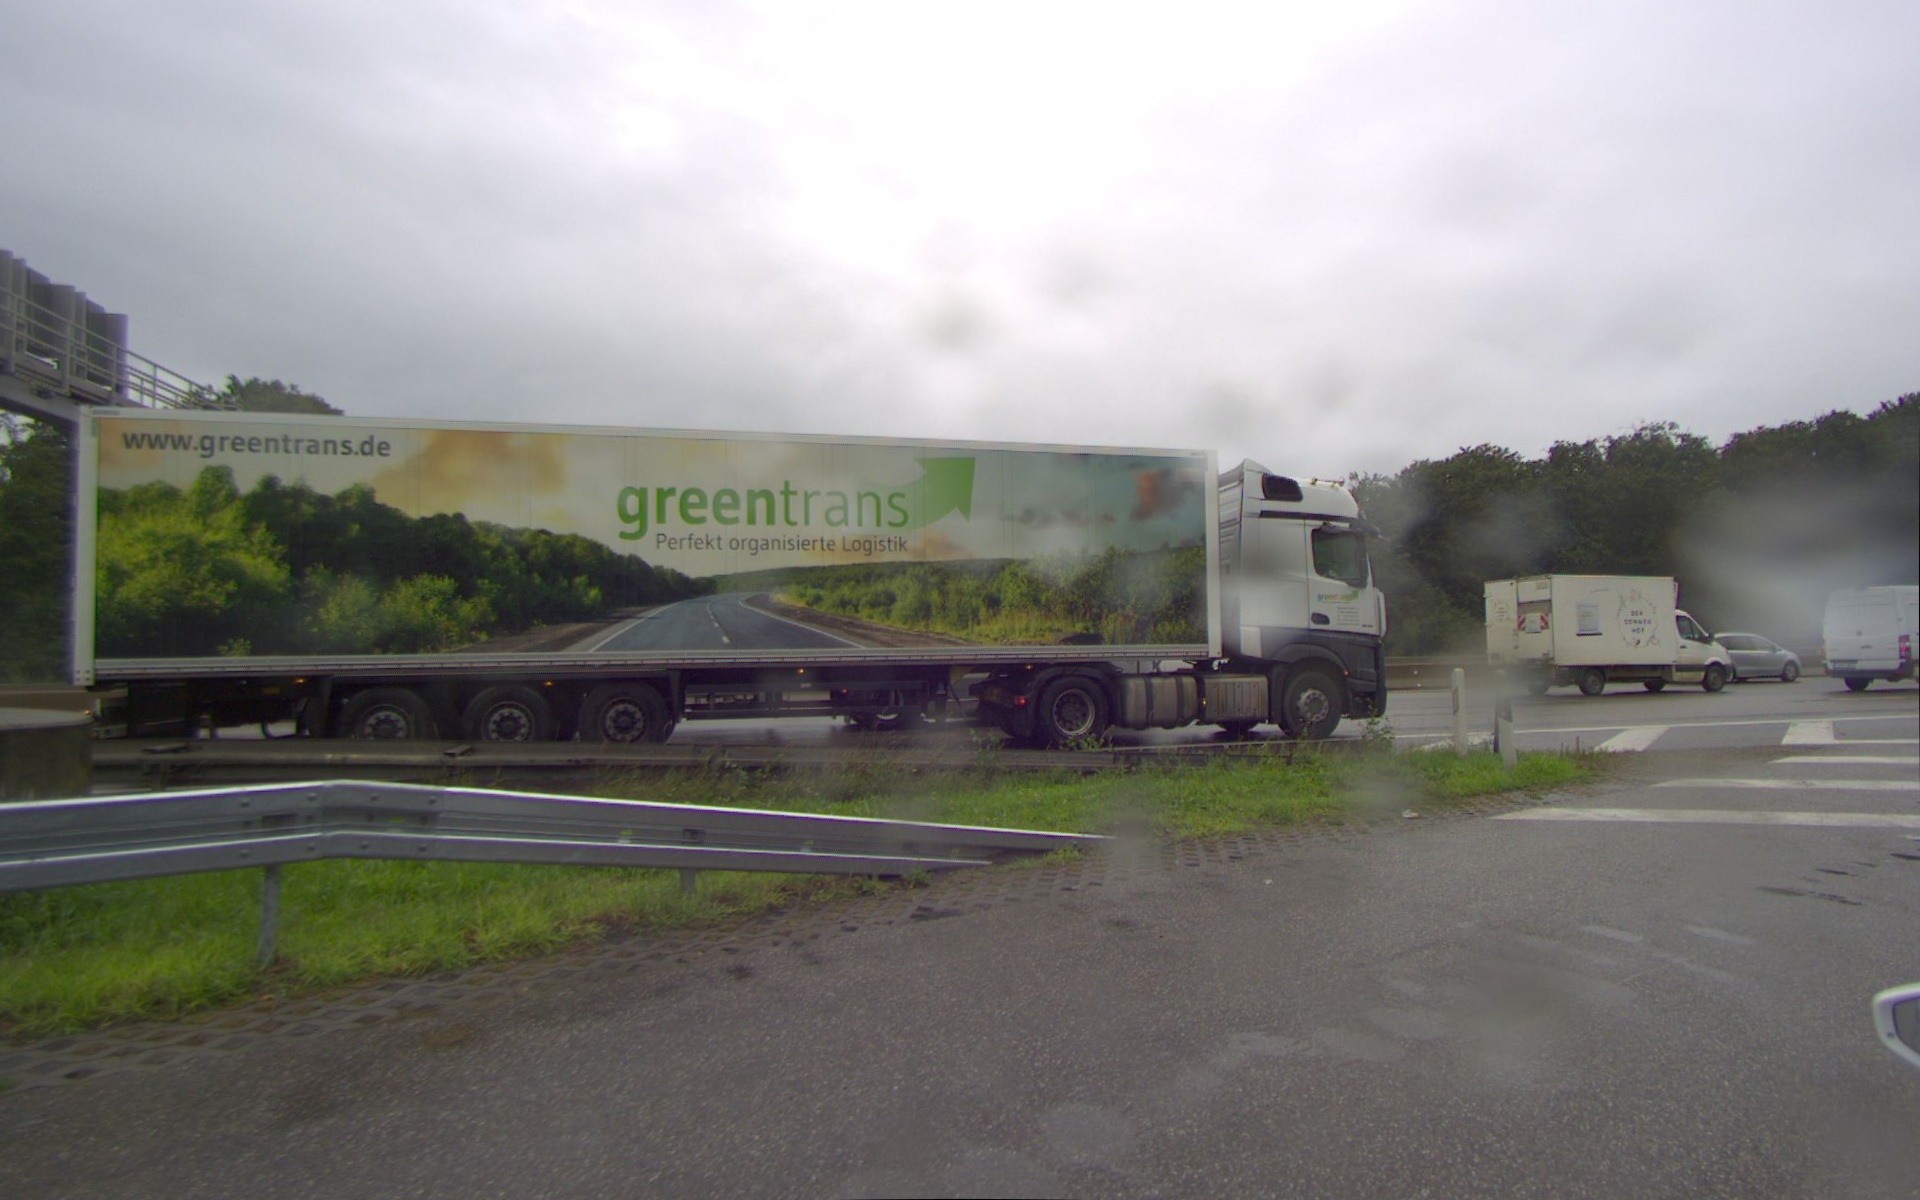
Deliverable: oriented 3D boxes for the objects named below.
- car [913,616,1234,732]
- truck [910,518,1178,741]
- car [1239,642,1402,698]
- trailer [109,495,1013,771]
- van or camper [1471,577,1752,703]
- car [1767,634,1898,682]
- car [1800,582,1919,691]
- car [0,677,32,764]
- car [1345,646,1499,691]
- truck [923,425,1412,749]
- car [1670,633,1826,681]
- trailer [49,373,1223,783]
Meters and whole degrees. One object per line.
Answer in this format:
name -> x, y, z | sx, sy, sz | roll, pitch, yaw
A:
car -> 2.654, 1.663, 23.711 | 7.242, 2.520, 2.149 | 0, -2, -15
truck -> 1.535, 0.581, 19.495 | 4.513, 3.914, 2.628 | 0, -3, -16
car -> 10.541, 2.010, 29.400 | 4.341, 1.542, 1.616 | 0, -3, -15
trailer -> -5.886, 0.540, 17.354 | 13.450, 3.914, 2.628 | 0, -3, -16
van or camper -> 18.130, 1.110, 28.035 | 7.014, 3.246, 2.580 | 0, -2, -16
car -> 32.712, 2.144, 37.685 | 3.933, 1.728, 1.777 | 0, -3, -15
car -> 25.387, 0.955, 26.374 | 5.747, 2.664, 2.216 | 0, -2, -16
car -> -19.444, 2.159, 17.405 | 4.462, 1.550, 1.995 | 1, -2, -14
car -> 15.705, 2.296, 34.177 | 4.753, 1.443, 1.745 | 0, -3, -15
truck -> 2.962, -0.079, 15.122 | 6.605, 4.152, 2.920 | 1, -3, -14
car -> 27.077, 1.940, 34.542 | 4.553, 1.542, 1.867 | 0, -3, -16
trailer -> -3.243, -0.109, 13.522 | 13.405, 4.260, 2.920 | 1, -3, -14
